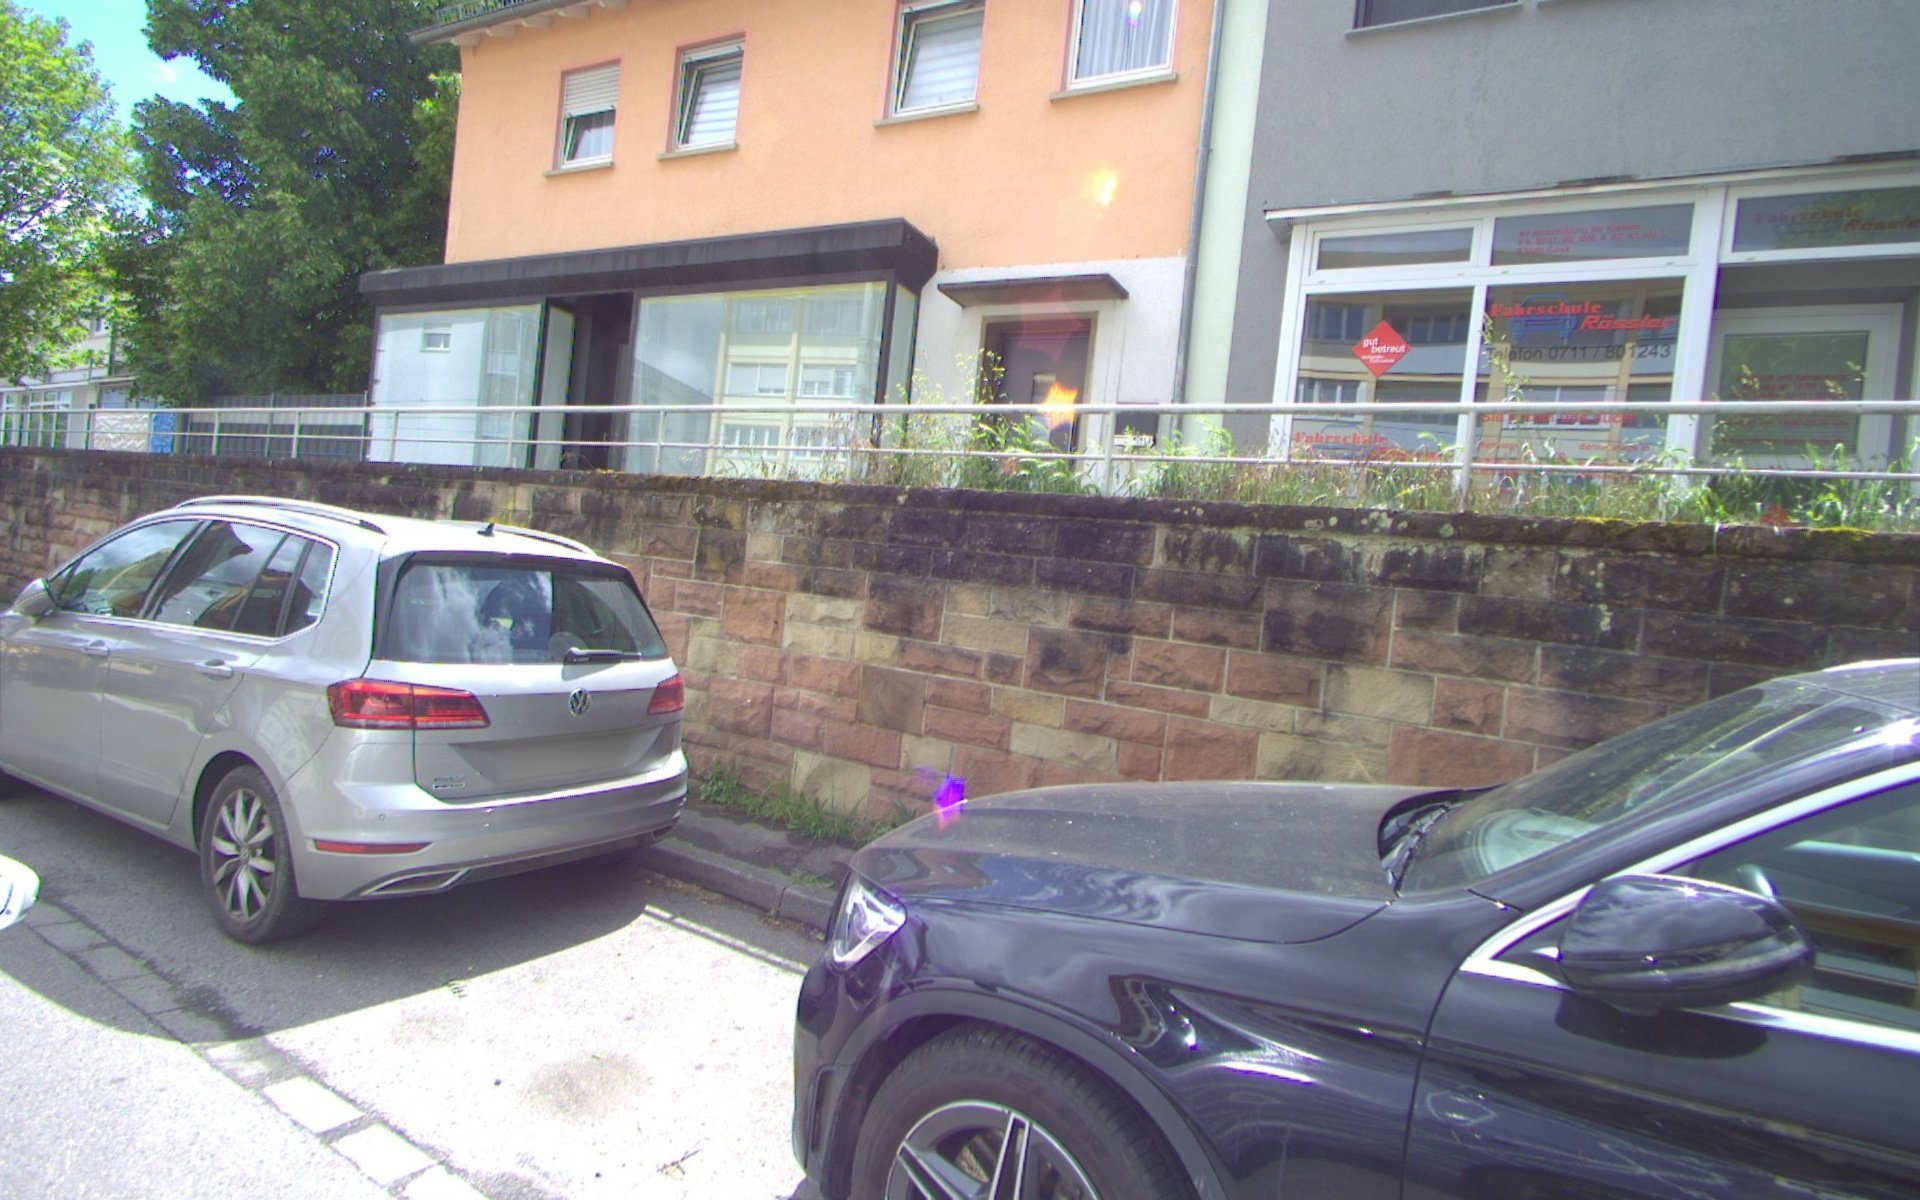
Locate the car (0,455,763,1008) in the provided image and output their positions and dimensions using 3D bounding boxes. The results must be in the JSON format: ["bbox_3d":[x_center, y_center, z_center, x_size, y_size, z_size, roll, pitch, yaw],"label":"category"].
[{"bbox_3d":[-3.212,0.289,4.933,4.177,1.638,1.791,7,1,31],"label":"car"}]

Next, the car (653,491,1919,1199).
[{"bbox_3d":[1.717,0.833,1.787,4.373,1.639,1.791,7,2,31],"label":"car"}]
